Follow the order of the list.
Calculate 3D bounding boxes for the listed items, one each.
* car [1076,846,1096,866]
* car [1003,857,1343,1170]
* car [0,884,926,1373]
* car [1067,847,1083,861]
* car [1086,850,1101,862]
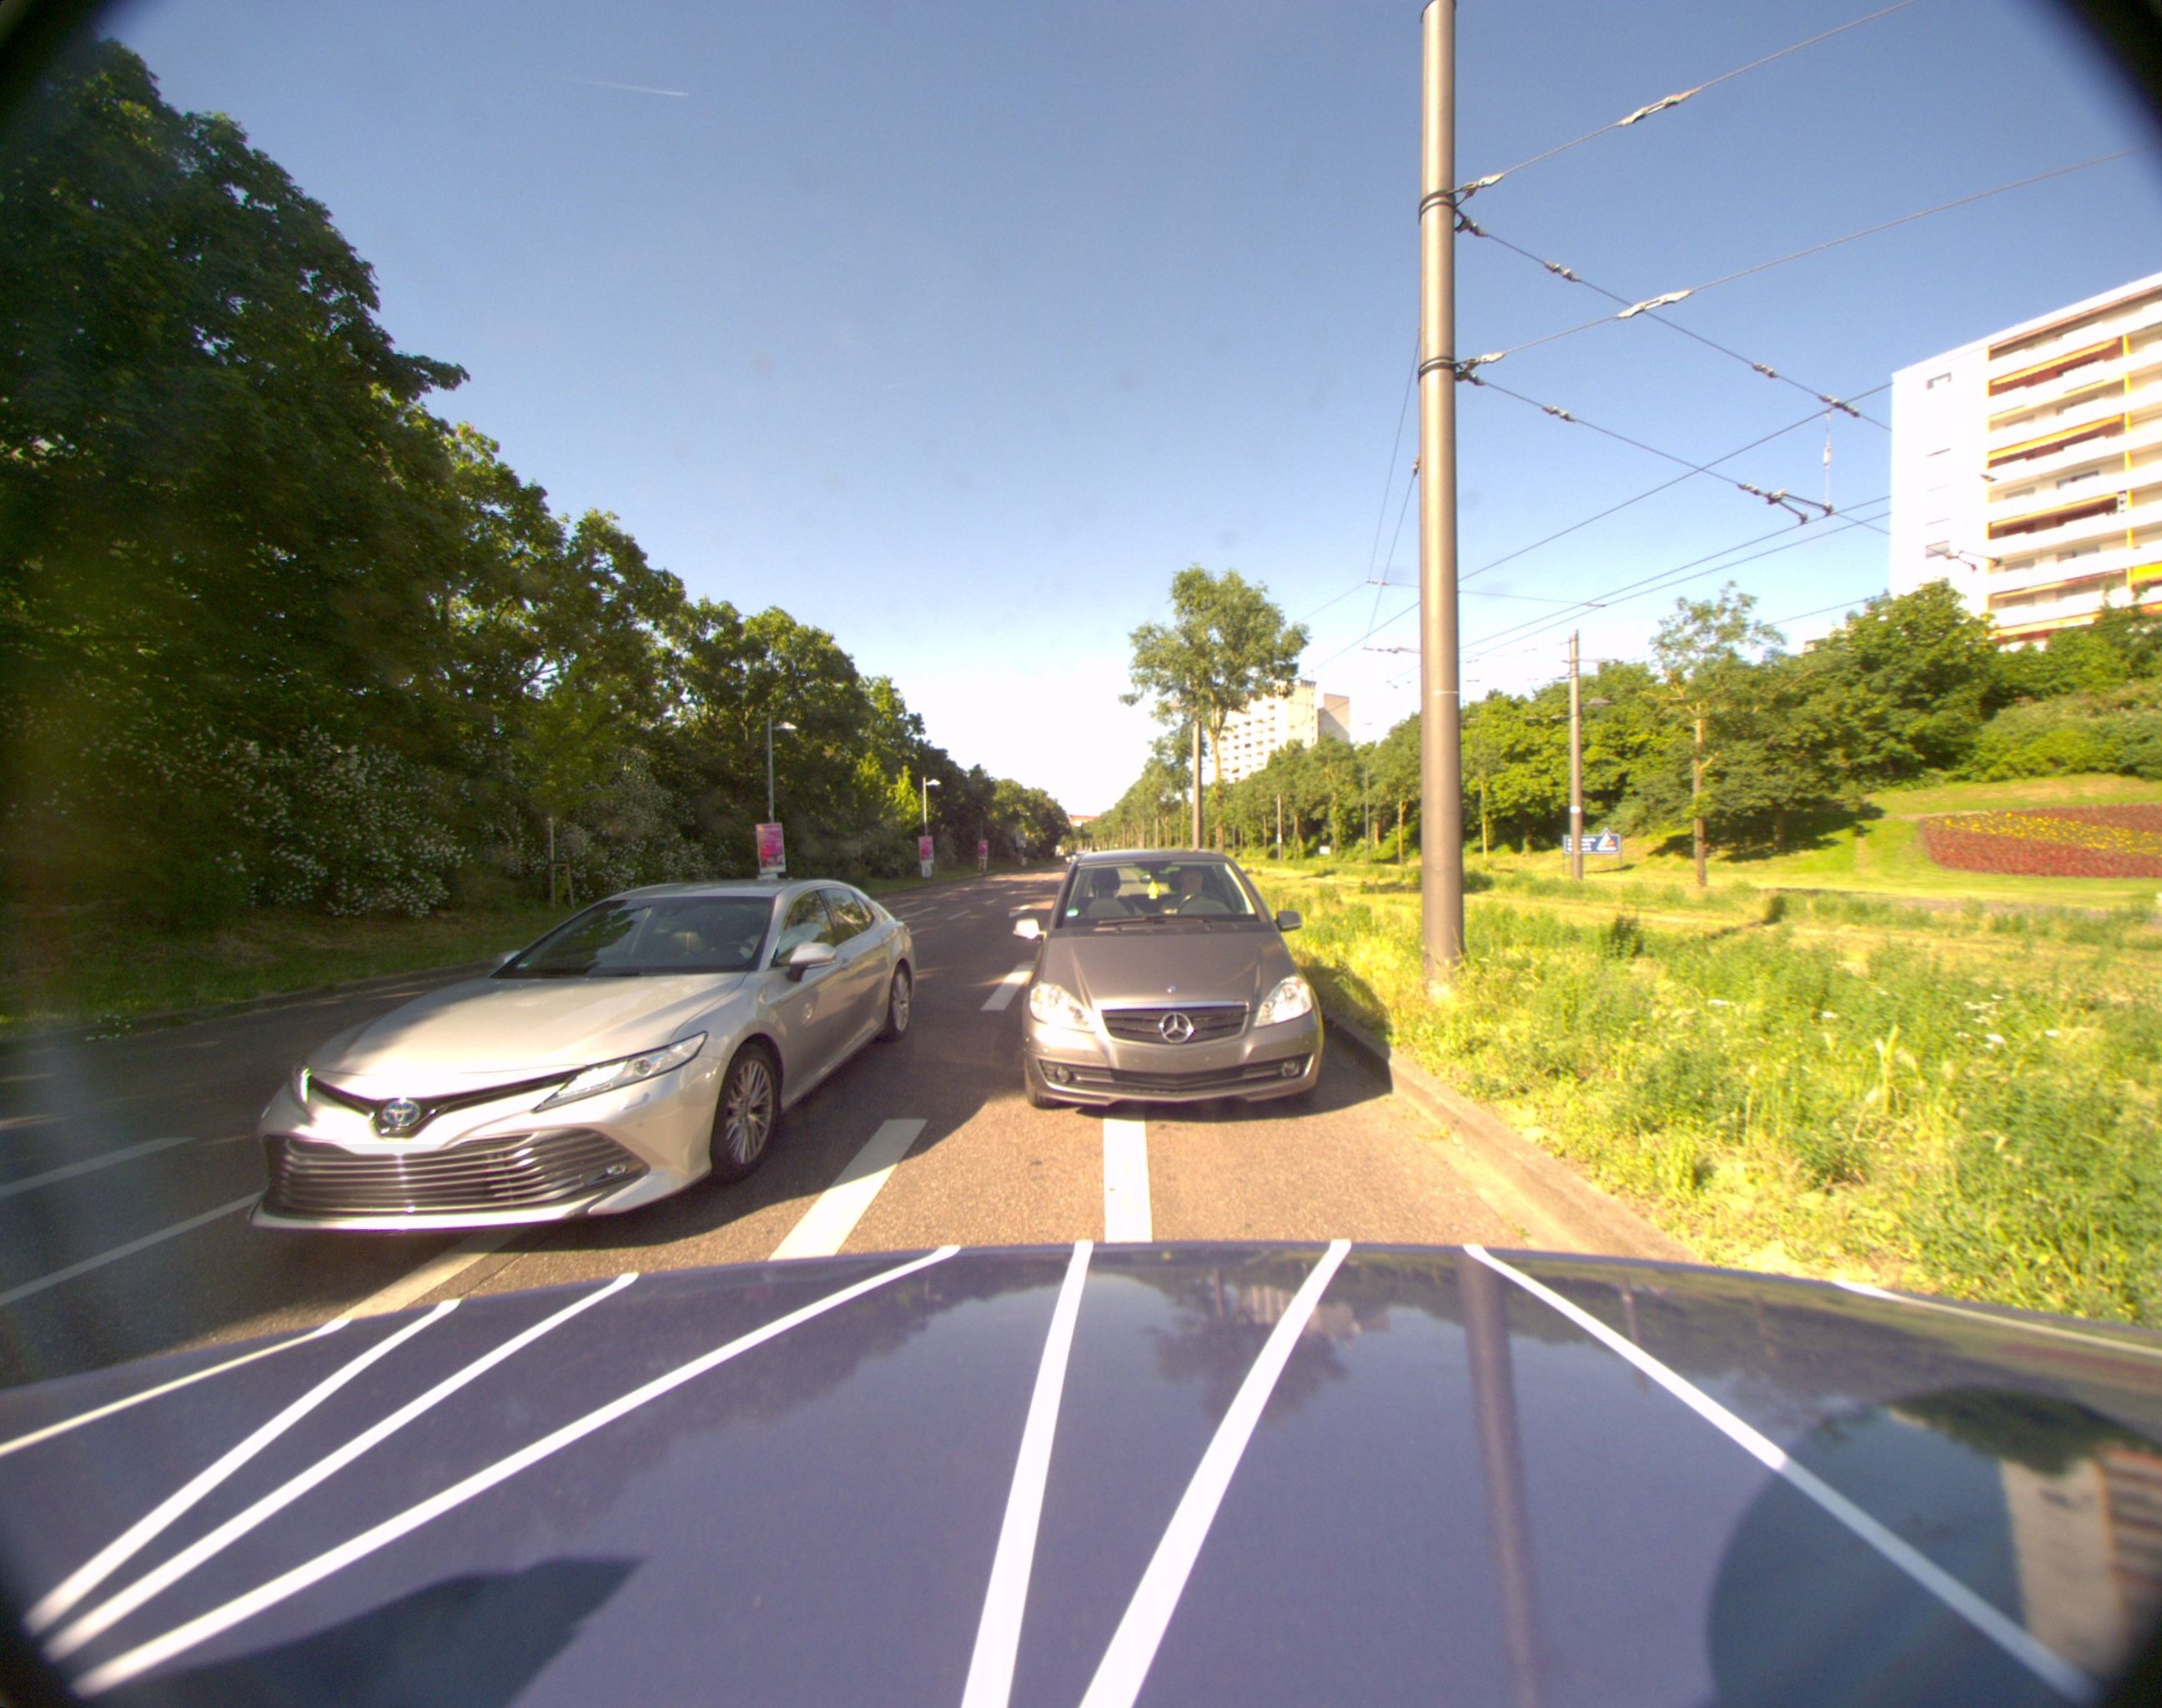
[{"bbox_3d":[0.555,0.195,75.486,1.822,1.893,4.622,-1,0,2],"label":"car"},{"bbox_3d":[0.516,0.853,6.203,1.777,1.597,4.384,-1,0,1],"label":"car"},{"bbox_3d":[-2.618,1.041,4.973,2.069,1.451,4.749,-1,0,2],"label":"car"},{"bbox_3d":[-0.813,-0.018,107.686,1.998,1.882,5.148,-1,0,1],"label":"car"},{"bbox_3d":[1.616,0.258,94.024,1.776,1.395,4.067,-1,0,2],"label":"car"}]
